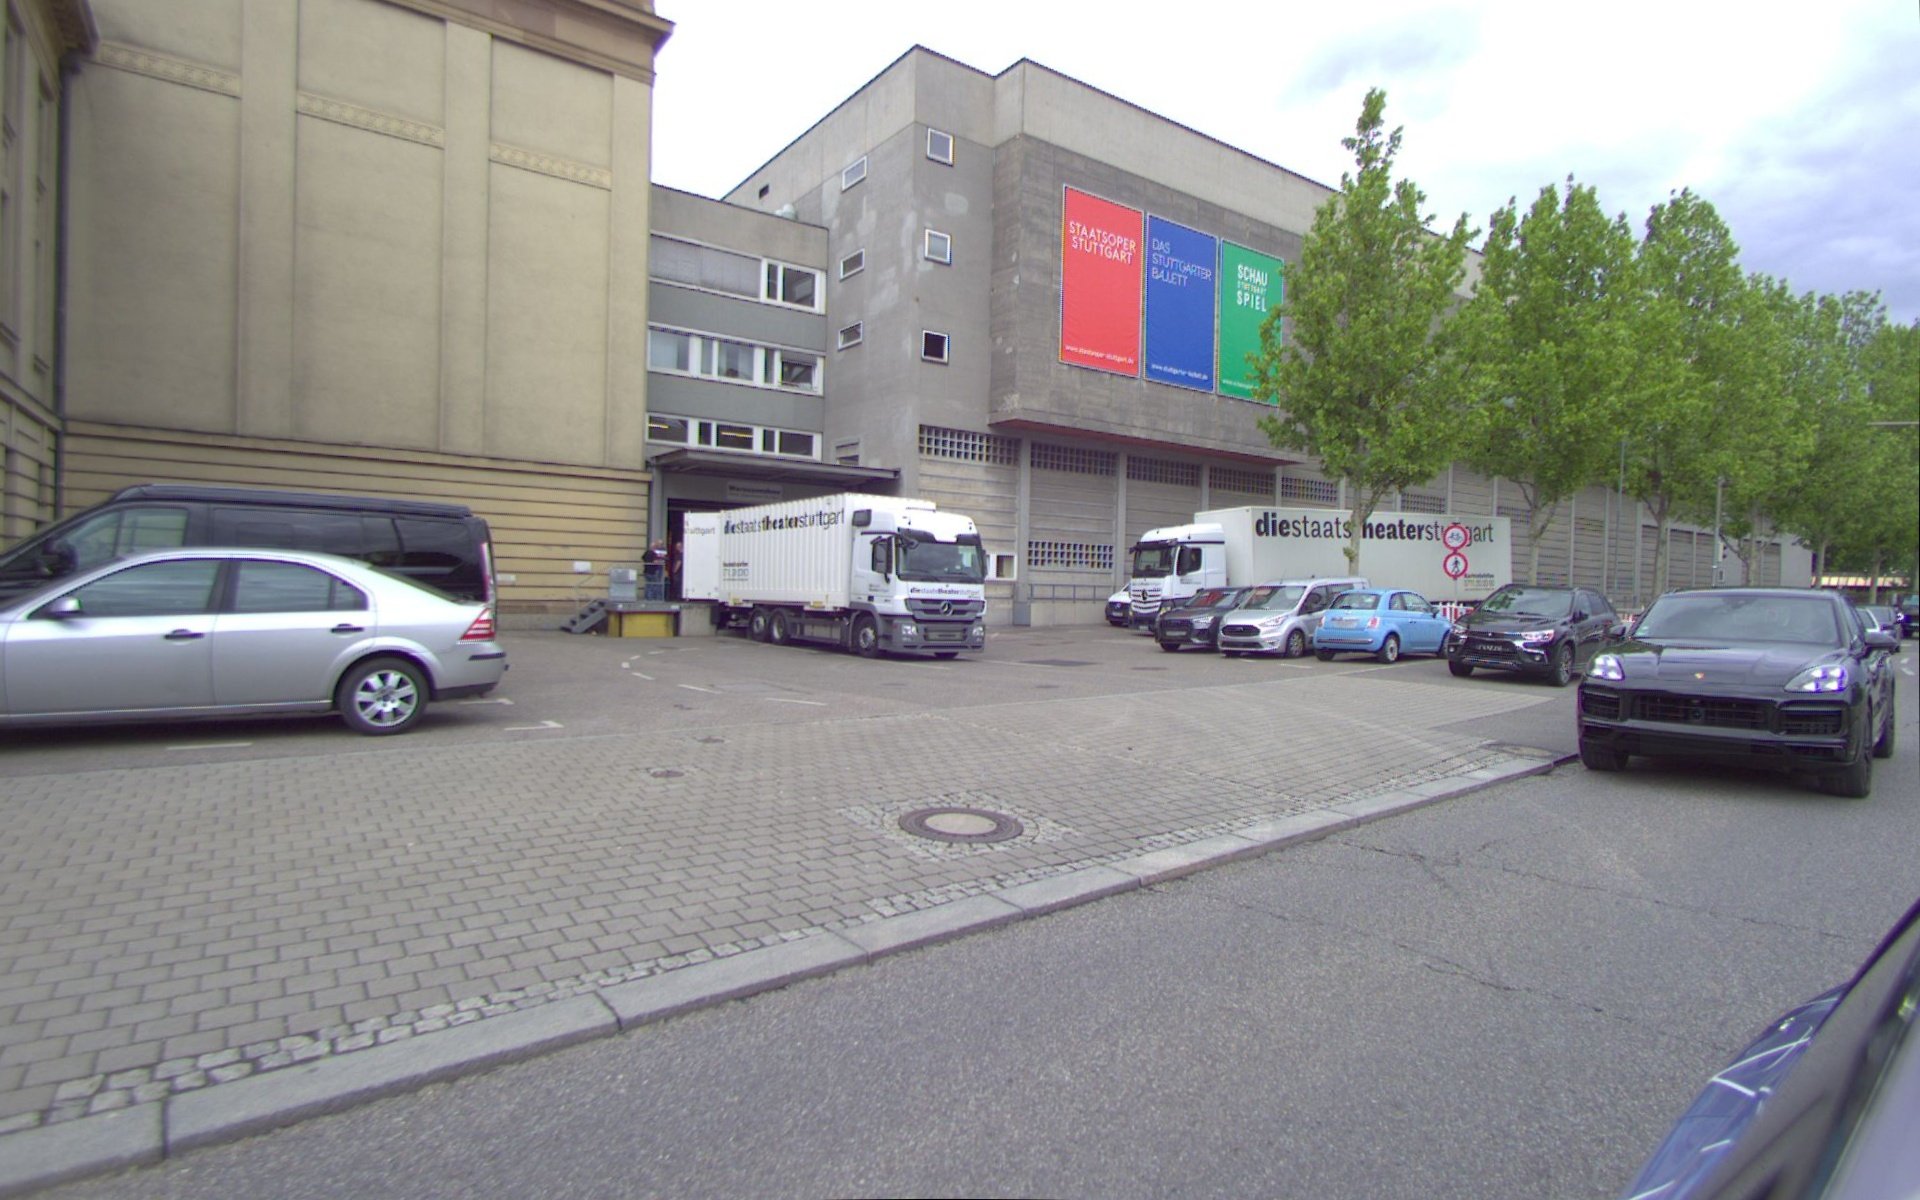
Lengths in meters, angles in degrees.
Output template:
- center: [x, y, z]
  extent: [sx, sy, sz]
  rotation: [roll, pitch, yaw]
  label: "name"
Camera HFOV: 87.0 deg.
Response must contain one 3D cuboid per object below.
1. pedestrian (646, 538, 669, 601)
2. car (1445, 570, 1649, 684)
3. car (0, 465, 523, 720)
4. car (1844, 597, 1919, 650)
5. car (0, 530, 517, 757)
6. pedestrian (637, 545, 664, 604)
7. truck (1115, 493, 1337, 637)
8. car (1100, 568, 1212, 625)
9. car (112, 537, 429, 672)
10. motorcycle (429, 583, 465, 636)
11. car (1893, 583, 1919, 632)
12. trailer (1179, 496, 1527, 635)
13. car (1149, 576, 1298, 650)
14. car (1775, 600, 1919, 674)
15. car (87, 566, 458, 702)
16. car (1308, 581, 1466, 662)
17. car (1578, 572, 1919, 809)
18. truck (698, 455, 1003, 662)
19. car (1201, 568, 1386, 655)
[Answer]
- center: [-9.098, -0.908, 30.444]
  extent: [0.518, 1.845, 0.764]
  rotation: [0, -1, -27]
  label: "pedestrian"
- center: [10.390, 0.437, 17.781]
  extent: [4.407, 1.760, 1.807]
  rotation: [1, -1, -41]
  label: "car"
- center: [-7.178, -0.048, 10.107]
  extent: [4.825, 2.095, 1.953]
  rotation: [1, -1, -38]
  label: "car"
- center: [28.363, 0.665, 30.815]
  extent: [3.557, 1.492, 1.612]
  rotation: [0, 1, -39]
  label: "car"
- center: [-6.078, 0.290, 7.917]
  extent: [4.490, 1.488, 1.783]
  rotation: [1, -1, -38]
  label: "car"
- center: [-9.055, -0.734, 29.650]
  extent: [0.679, 1.716, 0.628]
  rotation: [-1, -1, -9]
  label: "pedestrian"
- center: [8.415, -1.033, 31.937]
  extent: [6.441, 4.136, 3.146]
  rotation: [0, 0, -29]
  label: "truck"
- center: [6.944, -0.127, 35.733]
  extent: [3.922, 1.905, 1.561]
  rotation: [0, 0, -33]
  label: "car"
- center: [-9.721, 0.075, 14.451]
  extent: [3.550, 1.690, 1.647]
  rotation: [1, -1, -38]
  label: "car"
- center: [-13.365, 0.225, 26.325]
  extent: [0.548, 1.304, 2.091]
  rotation: [1, 1, -34]
  label: "motorcycle"
- center: [40.211, 0.314, 41.582]
  extent: [4.316, 1.950, 1.954]
  rotation: [0, 1, -36]
  label: "car"
- center: [13.924, -1.070, 35.010]
  extent: [13.691, 4.153, 3.161]
  rotation: [0, -1, -29]
  label: "trailer"
- center: [6.539, 0.294, 25.011]
  extent: [3.693, 1.710, 1.719]
  rotation: [0, 0, -39]
  label: "car"
- center: [18.673, 0.701, 21.121]
  extent: [3.930, 1.393, 1.933]
  rotation: [0, 0, -41]
  label: "car"
- center: [-8.303, 0.377, 12.449]
  extent: [3.550, 1.431, 1.647]
  rotation: [1, -1, -38]
  label: "car"
- center: [8.870, 0.400, 20.944]
  extent: [3.440, 1.549, 1.584]
  rotation: [0, 0, -39]
  label: "car"
- center: [7.378, 0.635, 9.310]
  extent: [4.131, 1.678, 1.904]
  rotation: [0, 0, -44]
  label: "car"
- center: [-3.306, -1.024, 25.877]
  extent: [2.943, 4.257, 10.387]
  rotation: [1, 2, -36]
  label: "truck"
- center: [7.704, 0.273, 23.170]
  extent: [4.537, 1.807, 1.809]
  rotation: [0, -2, -39]
  label: "car"
